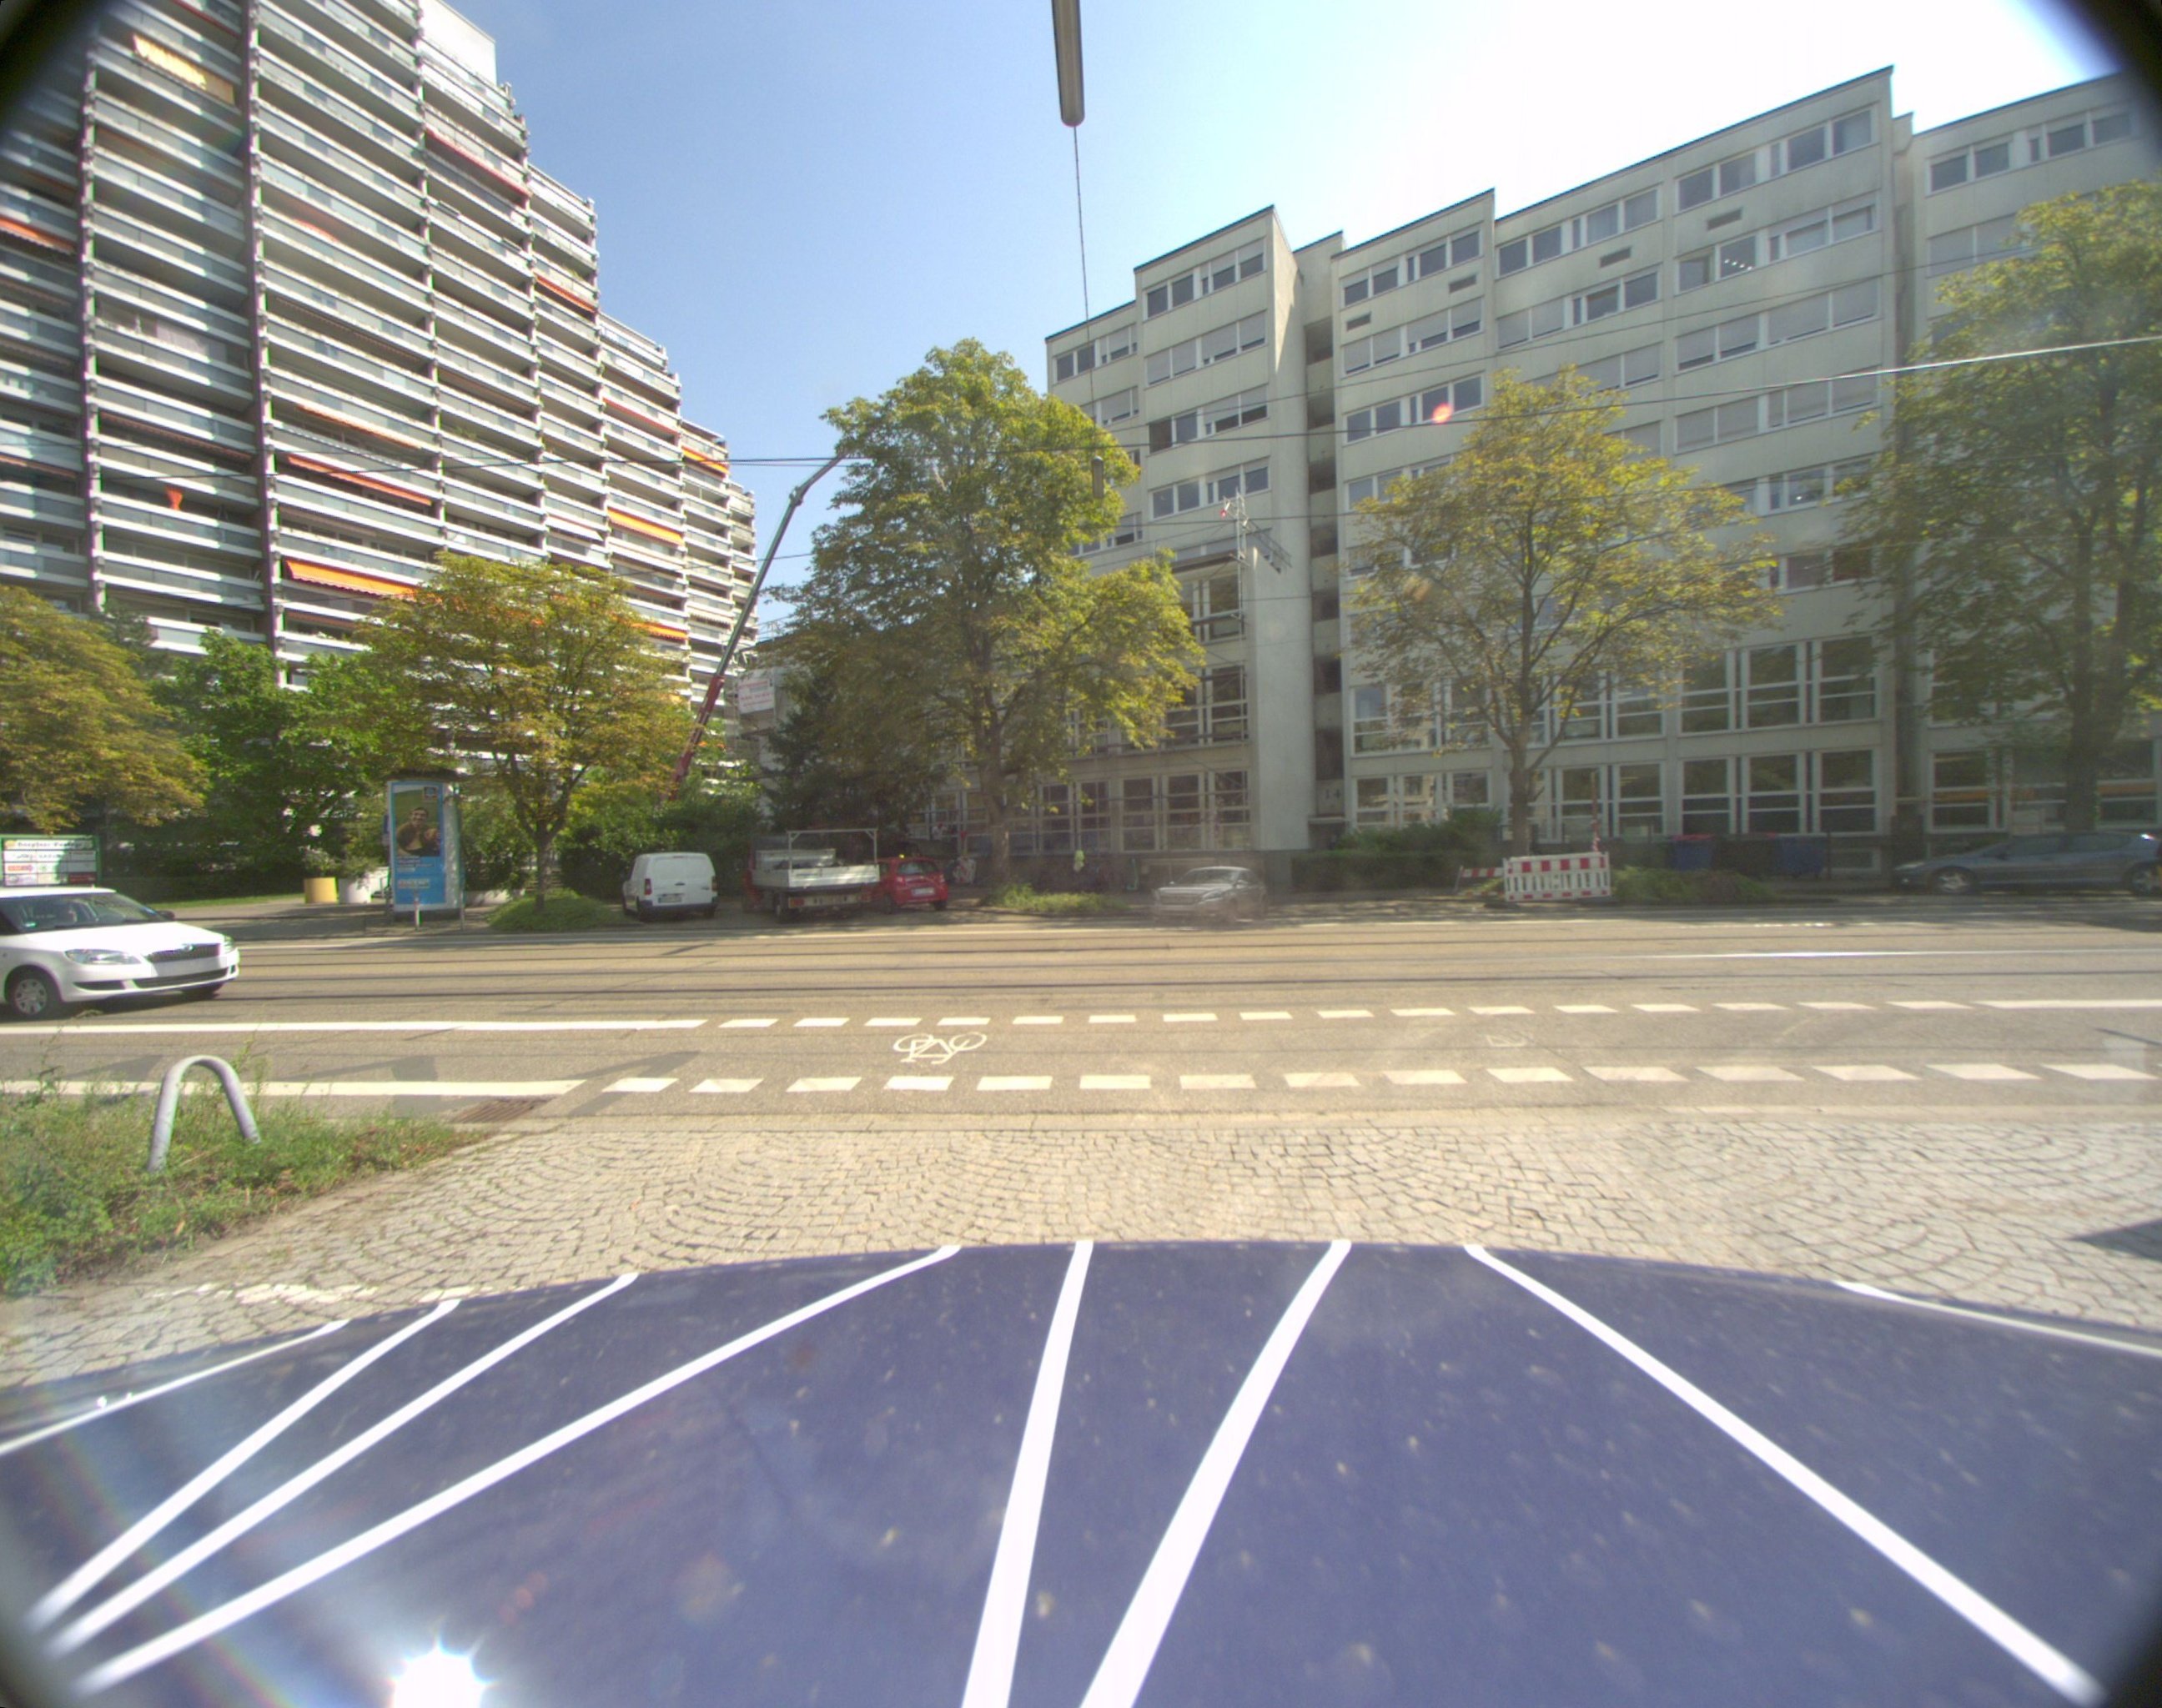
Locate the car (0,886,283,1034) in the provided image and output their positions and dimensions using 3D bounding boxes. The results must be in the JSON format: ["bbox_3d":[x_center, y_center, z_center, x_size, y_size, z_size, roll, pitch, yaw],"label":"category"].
[{"bbox_3d":[-12.659,1.233,9.280,4.014,1.484,1.826,-1,1,4],"label":"car"}]

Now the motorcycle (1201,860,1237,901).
[{"bbox_3d":[4.517,0.832,24.789,0.693,1.176,1.848,0,3,25],"label":"motorcycle"}]

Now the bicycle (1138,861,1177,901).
[{"bbox_3d":[2.572,0.869,25.429,0.620,1.163,2.349,0,3,23],"label":"bicycle"}]

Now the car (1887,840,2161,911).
[{"bbox_3d":[22.037,0.490,17.525,1.680,1.443,4.676,-2,0,-42],"label":"car"}]

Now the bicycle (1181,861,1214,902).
[{"bbox_3d":[3.843,0.867,24.969,0.561,1.163,2.349,0,3,21],"label":"bicycle"}]

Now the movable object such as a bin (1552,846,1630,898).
[{"bbox_3d":[15.803,0.532,23.613,1.353,1.550,1.688,-1,0,3],"label":"movable object such as a bin"}]

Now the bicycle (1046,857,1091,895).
[{"bbox_3d":[-0.404,0.745,26.778,0.600,1.153,2.349,0,3,25],"label":"bicycle"}]

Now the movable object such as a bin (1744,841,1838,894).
[{"bbox_3d":[21.922,0.407,23.506,1.353,1.550,1.688,-1,0,3],"label":"movable object such as a bin"}]

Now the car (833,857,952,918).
[{"bbox_3d":[-5.304,0.860,21.078,1.724,1.499,3.849,-1,0,-39],"label":"car"}]

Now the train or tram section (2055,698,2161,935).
[{"bbox_3d":[22.922,-0.759,10.946,12.398,3.683,3.509,-2,1,4],"label":"train or tram section"}]

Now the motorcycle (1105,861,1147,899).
[{"bbox_3d":[1.580,0.855,26.049,0.742,1.148,2.009,0,3,25],"label":"motorcycle"}]

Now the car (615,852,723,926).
[{"bbox_3d":[-11.308,0.872,20.726,1.829,1.761,4.274,-2,1,-38],"label":"car"}]

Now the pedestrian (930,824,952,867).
[{"bbox_3d":[-5.836,-0.359,31.636,0.741,1.777,0.828,-2,1,-17],"label":"pedestrian"}]

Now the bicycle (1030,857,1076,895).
[{"bbox_3d":[-0.979,0.752,27.044,0.600,1.153,2.349,0,3,25],"label":"bicycle"}]

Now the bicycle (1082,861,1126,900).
[{"bbox_3d":[0.821,0.871,26.235,0.600,1.163,2.349,0,3,25],"label":"bicycle"}]

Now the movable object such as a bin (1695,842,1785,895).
[{"bbox_3d":[20.453,0.434,23.637,1.353,1.550,1.688,-1,0,3],"label":"movable object such as a bin"}]

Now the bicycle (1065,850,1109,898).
[{"bbox_3d":[0.237,0.658,26.502,0.600,1.517,2.349,0,3,25],"label":"bicycle"}]

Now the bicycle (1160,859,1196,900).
[{"bbox_3d":[3.241,0.813,25.181,0.620,1.163,2.349,0,3,22],"label":"bicycle"}]

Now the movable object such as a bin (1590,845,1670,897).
[{"bbox_3d":[17.270,0.509,23.959,1.353,1.550,1.688,-1,0,3],"label":"movable object such as a bin"}]

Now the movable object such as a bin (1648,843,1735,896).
[{"bbox_3d":[18.889,0.469,23.574,1.353,1.550,1.688,-1,0,3],"label":"movable object such as a bin"}]

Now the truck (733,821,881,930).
[{"bbox_3d":[-7.336,0.475,19.863,2.154,2.420,5.954,-2,1,-34],"label":"truck"}]
